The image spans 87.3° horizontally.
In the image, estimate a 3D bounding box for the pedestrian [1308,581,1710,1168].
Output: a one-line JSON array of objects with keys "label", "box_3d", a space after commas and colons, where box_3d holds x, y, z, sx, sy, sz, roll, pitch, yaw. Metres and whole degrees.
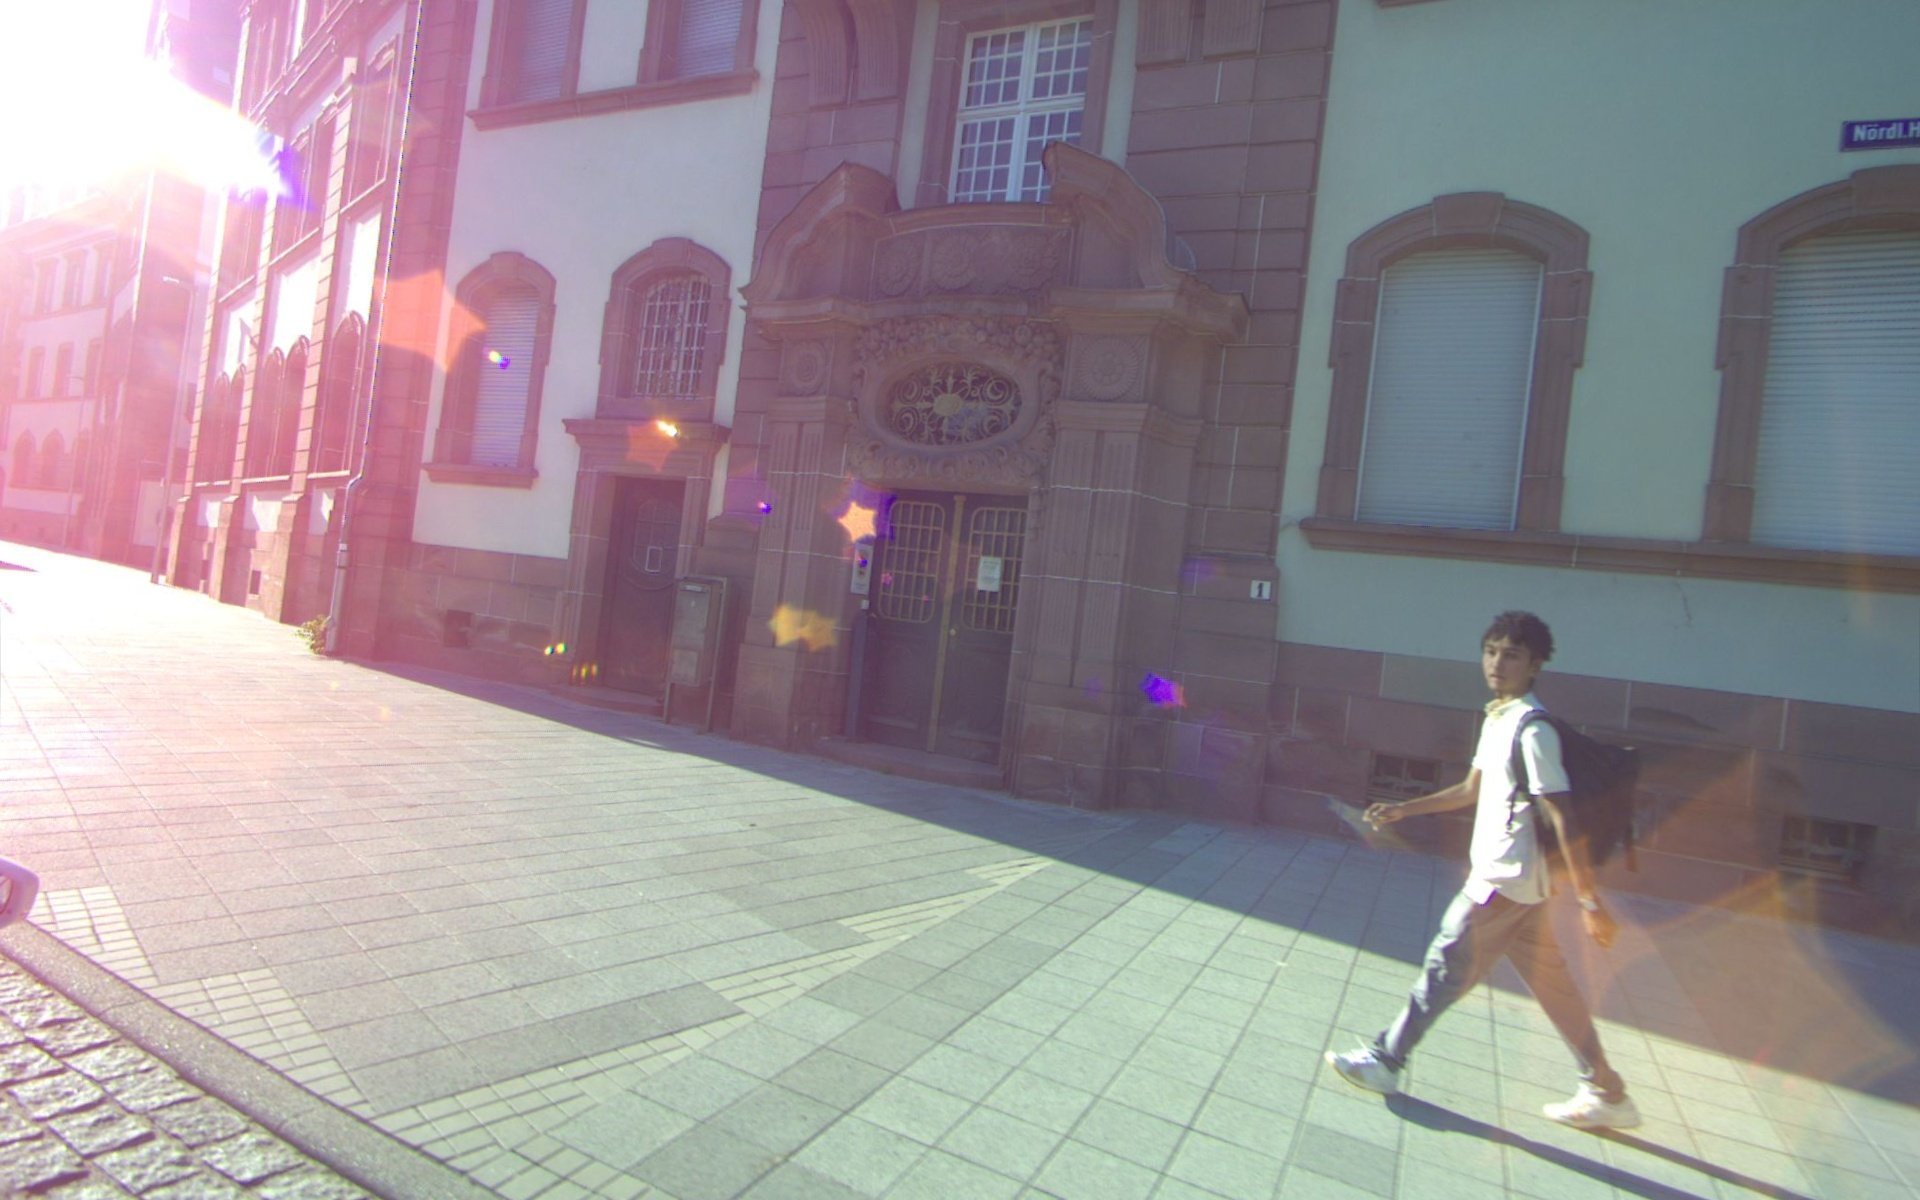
[{"label": "pedestrian", "box_3d": [1.873, 0.859, 3.554, 0.985, 1.741, 0.533, 7, 2, 26]}]
